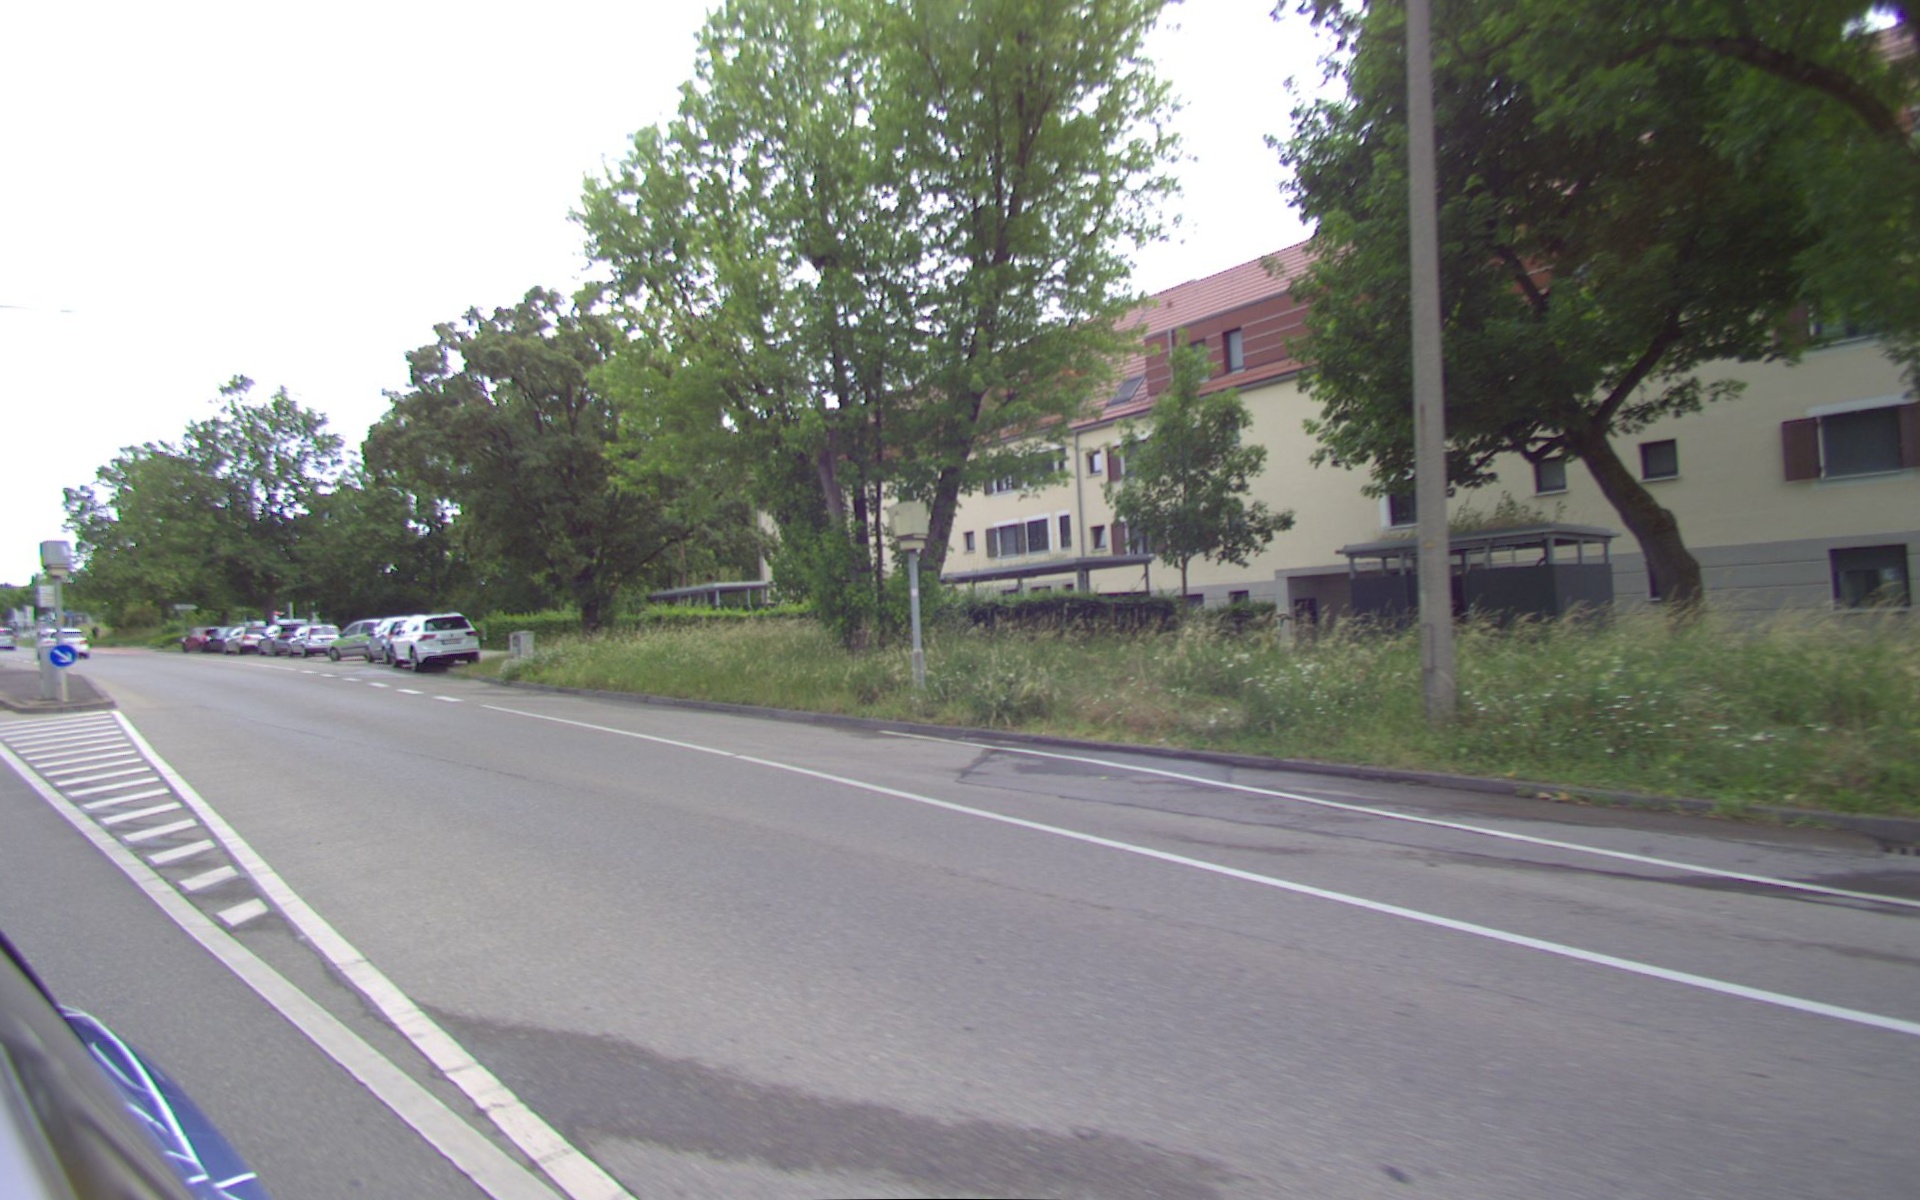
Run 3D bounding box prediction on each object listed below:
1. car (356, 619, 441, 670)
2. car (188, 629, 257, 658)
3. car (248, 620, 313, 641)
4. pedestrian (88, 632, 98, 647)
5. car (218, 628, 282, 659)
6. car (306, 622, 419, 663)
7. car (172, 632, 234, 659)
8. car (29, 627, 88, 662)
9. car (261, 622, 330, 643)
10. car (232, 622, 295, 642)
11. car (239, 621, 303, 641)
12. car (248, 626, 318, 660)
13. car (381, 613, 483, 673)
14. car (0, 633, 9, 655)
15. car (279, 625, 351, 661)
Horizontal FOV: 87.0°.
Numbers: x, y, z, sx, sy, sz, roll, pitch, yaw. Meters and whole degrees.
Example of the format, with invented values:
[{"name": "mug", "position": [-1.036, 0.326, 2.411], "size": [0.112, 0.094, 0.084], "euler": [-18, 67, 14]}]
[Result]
[{"name": "car", "position": [-20.010, 1.530, 36.012], "size": [1.852, 1.608, 4.006], "euler": [-2, 1, -41]}, {"name": "car", "position": [-41.867, 2.476, 57.422], "size": [3.988, 1.518, 1.860], "euler": [-2, 0, 33]}, {"name": "car", "position": [-69.480, 3.115, 103.492], "size": [1.739, 2.029, 5.227], "euler": [-1, -2, 42]}, {"name": "pedestrian", "position": [-91.386, 4.154, 106.661], "size": [0.639, 1.458, 0.747], "euler": [-1, 0, 42]}, {"name": "car", "position": [-37.561, 2.273, 53.518], "size": [4.055, 1.518, 1.856], "euler": [-2, 0, 41]}, {"name": "car", "position": [-23.595, 1.683, 39.988], "size": [3.974, 1.518, 1.867], "euler": [-2, -1, 23]}, {"name": "car", "position": [-45.066, 2.712, 60.236], "size": [3.879, 1.518, 1.859], "euler": [-2, 0, 35]}, {"name": "car", "position": [-45.755, 2.230, 51.345], "size": [4.340, 1.582, 1.854], "euler": [-1, 1, 44]}, {"name": "car", "position": [-64.017, 3.115, 97.616], "size": [2.011, 2.029, 5.229], "euler": [-1, -2, 41]}, {"name": "car", "position": [-73.894, 3.378, 107.368], "size": [1.738, 2.029, 5.229], "euler": [-1, -2, 40]}, {"name": "car", "position": [-71.901, 3.217, 105.679], "size": [1.738, 2.029, 5.229], "euler": [-1, -2, 40]}, {"name": "car", "position": [-33.366, 2.111, 49.850], "size": [3.998, 1.518, 1.856], "euler": [-2, 0, 41]}, {"name": "car", "position": [-16.558, 1.304, 31.637], "size": [1.852, 1.679, 4.397], "euler": [-2, -1, -41]}, {"name": "car", "position": [-79.535, 3.662, 82.975], "size": [4.404, 1.783, 1.809], "euler": [-2, 0, 41]}, {"name": "car", "position": [-29.715, 1.971, 46.581], "size": [4.000, 1.518, 1.854], "euler": [-2, -1, 44]}]
